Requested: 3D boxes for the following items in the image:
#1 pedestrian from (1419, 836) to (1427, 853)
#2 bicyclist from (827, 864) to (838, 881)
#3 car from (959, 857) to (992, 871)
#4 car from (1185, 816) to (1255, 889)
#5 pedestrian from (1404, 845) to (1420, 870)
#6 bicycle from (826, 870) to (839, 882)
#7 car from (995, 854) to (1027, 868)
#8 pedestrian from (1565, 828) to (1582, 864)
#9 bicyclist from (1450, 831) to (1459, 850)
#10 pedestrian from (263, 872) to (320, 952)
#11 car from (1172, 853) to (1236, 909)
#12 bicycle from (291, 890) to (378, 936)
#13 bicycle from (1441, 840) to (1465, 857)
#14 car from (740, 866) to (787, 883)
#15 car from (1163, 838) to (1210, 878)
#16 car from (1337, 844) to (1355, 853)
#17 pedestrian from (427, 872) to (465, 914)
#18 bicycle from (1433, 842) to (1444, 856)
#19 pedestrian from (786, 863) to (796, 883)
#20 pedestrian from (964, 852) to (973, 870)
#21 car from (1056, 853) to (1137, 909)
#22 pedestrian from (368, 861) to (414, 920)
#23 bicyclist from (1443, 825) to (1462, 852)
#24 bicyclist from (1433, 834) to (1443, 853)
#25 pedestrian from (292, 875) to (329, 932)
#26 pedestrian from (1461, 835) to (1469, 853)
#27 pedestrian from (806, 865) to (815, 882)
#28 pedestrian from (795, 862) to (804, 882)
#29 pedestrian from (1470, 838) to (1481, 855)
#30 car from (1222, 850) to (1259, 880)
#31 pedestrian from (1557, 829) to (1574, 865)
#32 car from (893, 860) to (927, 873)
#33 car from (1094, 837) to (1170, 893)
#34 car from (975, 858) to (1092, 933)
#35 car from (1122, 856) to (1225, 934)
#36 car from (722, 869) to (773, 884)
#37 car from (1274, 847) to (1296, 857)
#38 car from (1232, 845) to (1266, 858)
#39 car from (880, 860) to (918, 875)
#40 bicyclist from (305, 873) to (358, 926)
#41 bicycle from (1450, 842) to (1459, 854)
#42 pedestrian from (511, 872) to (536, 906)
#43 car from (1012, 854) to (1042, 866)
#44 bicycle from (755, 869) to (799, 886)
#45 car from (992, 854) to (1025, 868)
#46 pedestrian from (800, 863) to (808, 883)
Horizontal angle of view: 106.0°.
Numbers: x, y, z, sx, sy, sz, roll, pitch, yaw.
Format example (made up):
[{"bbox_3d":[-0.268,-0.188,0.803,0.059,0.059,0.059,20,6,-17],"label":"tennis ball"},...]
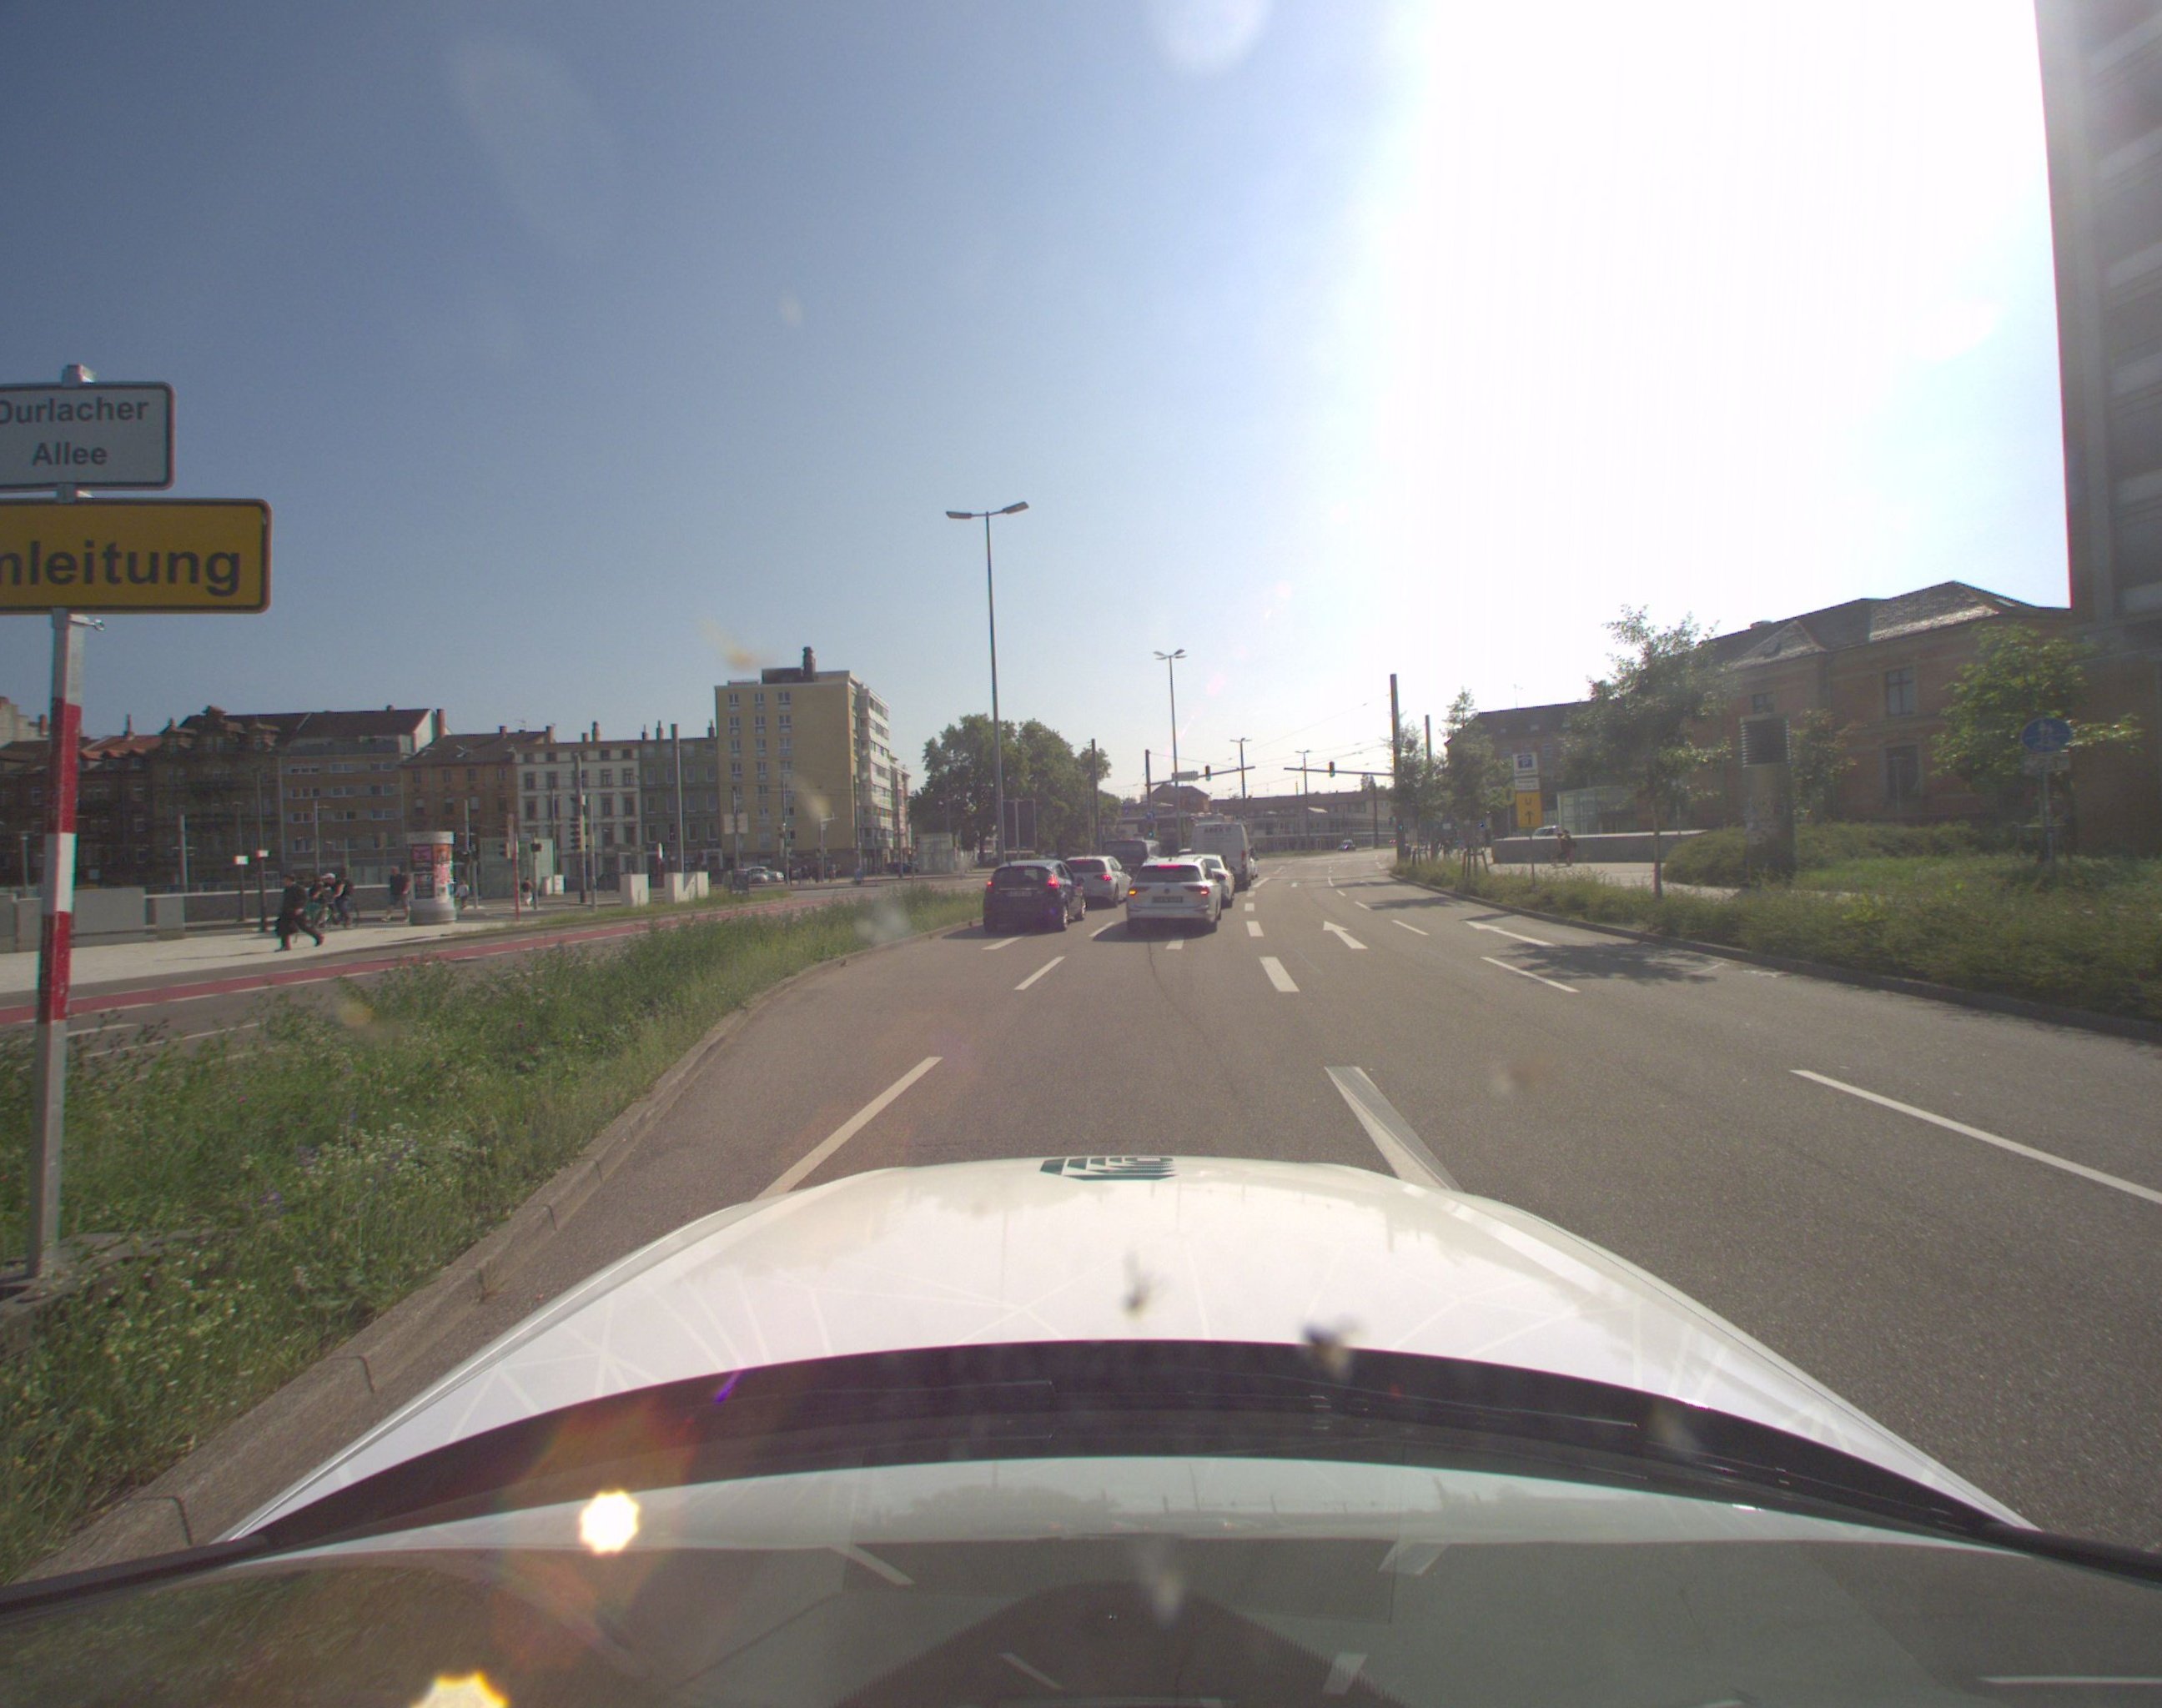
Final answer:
[{"bbox_3d":[41.046,-1.148,97.683,0.739,2.013,0.811,-3,0,25],"label":"pedestrian"},{"bbox_3d":[-21.521,1.620,70.490,0.724,1.434,0.689,-2,0,-5],"label":"bicyclist"},{"bbox_3d":[-13.593,1.291,105.046,3.977,1.558,1.727,-2,0,-2],"label":"car"},{"bbox_3d":[5.428,-0.048,31.304,2.173,2.549,4.702,-2,-1,14],"label":"car"},{"bbox_3d":[18.290,0.196,45.029,0.632,1.362,0.635,-2,0,8],"label":"pedestrian"},{"bbox_3d":[-21.515,1.907,70.475,0.726,0.984,1.729,-2,0,-5],"label":"bicycle"},{"bbox_3d":[-9.386,0.909,108.857,3.971,1.618,1.814,-3,0,2],"label":"car"},{"bbox_3d":[22.710,-0.357,37.569,0.608,1.628,0.537,-2,0,32],"label":"pedestrian"},{"bbox_3d":[36.385,-1.336,79.347,0.739,1.785,1.120,-3,0,25],"label":"bicyclist"},{"bbox_3d":[-18.647,1.342,19.258,0.853,1.778,0.866,-4,3,-43],"label":"pedestrian"},{"bbox_3d":[3.545,0.700,22.962,1.479,1.403,3.955,-2,-1,12],"label":"car"},{"bbox_3d":[-20.703,1.606,22.639,0.559,1.064,1.853,-1,3,3],"label":"bicycle"},{"bbox_3d":[21.795,-0.318,47.734,0.767,0.976,2.157,-2,0,11],"label":"bicycle"},{"bbox_3d":[-29.667,1.936,76.128,3.726,1.393,1.586,-2,0,-1],"label":"car"},{"bbox_3d":[5.829,0.221,44.410,2.009,2.008,4.700,-2,0,13],"label":"car"},{"bbox_3d":[44.389,-0.965,136.446,1.974,1.442,4.026,-3,0,31],"label":"car"},{"bbox_3d":[-31.986,1.951,41.047,0.955,2.013,1.022,-2,2,-1],"label":"pedestrian"},{"bbox_3d":[29.578,-0.417,67.395,0.699,1.061,1.994,-3,0,25],"label":"bicycle"},{"bbox_3d":[-24.628,1.586,69.105,0.450,1.684,0.550,-1,2,23],"label":"pedestrian"},{"bbox_3d":[-12.775,0.826,92.400,0.819,2.013,0.509,-2,0,1],"label":"pedestrian"},{"bbox_3d":[0.529,0.720,23.760,1.478,1.415,3.662,-2,0,14],"label":"car"},{"bbox_3d":[-22.883,1.189,27.022,0.883,1.818,0.888,-3,3,-27],"label":"pedestrian"},{"bbox_3d":[21.774,-0.899,47.751,0.767,1.578,0.993,-2,0,11],"label":"bicyclist"},{"bbox_3d":[29.548,-0.881,67.384,0.706,1.529,0.811,-3,0,25],"label":"bicyclist"},{"bbox_3d":[-22.167,1.416,23.434,0.494,1.579,0.510,-2,2,13],"label":"pedestrian"},{"bbox_3d":[44.672,-1.150,94.719,0.739,2.013,0.811,-3,0,25],"label":"pedestrian"},{"bbox_3d":[-23.620,1.698,71.062,0.501,1.487,0.435,-4,3,-40],"label":"pedestrian"},{"bbox_3d":[-24.030,1.561,69.560,0.451,1.684,0.549,-2,2,11],"label":"pedestrian"},{"bbox_3d":[35.072,-0.681,72.402,0.739,1.529,0.811,-3,0,25],"label":"pedestrian"},{"bbox_3d":[8.182,0.544,41.522,1.625,1.403,3.701,-2,0,14],"label":"car"},{"bbox_3d":[22.120,-0.328,37.196,0.608,1.639,0.537,-3,0,32],"label":"pedestrian"},{"bbox_3d":[-22.127,1.587,105.238,3.977,1.558,1.867,-2,0,-2],"label":"car"},{"bbox_3d":[2.085,0.394,31.902,2.008,2.008,4.703,-2,0,15],"label":"car"},{"bbox_3d":[-0.901,0.823,17.770,1.691,1.368,3.974,-2,0,9],"label":"car"},{"bbox_3d":[1.983,0.759,16.598,1.673,1.387,3.646,-2,-1,12],"label":"car"},{"bbox_3d":[-29.917,1.997,73.091,3.814,1.180,1.576,-2,-2,2],"label":"car"},{"bbox_3d":[32.436,-0.263,129.583,1.974,1.442,4.026,-3,0,35],"label":"car"},{"bbox_3d":[20.396,-0.272,98.936,3.945,1.342,1.934,-3,0,6],"label":"car"},{"bbox_3d":[-21.887,1.650,98.019,3.975,1.557,1.869,-2,2,-1],"label":"car"},{"bbox_3d":[-20.714,1.243,22.529,0.560,1.361,0.884,0,2,3],"label":"bicyclist"},{"bbox_3d":[36.406,-0.603,79.355,0.739,1.148,2.884,-3,0,25],"label":"bicycle"},{"bbox_3d":[-30.590,1.908,44.727,0.830,1.819,0.778,-1,-2,-1],"label":"pedestrian"},{"bbox_3d":[-7.447,0.844,112.189,3.977,1.558,1.727,-2,0,-2],"label":"car"},{"bbox_3d":[-31.420,2.422,84.321,3.978,1.551,1.194,-2,2,-4],"label":"bicycle"},{"bbox_3d":[-9.479,0.949,106.902,3.971,1.618,1.814,-3,0,2],"label":"car"},{"bbox_3d":[-24.080,1.616,70.760,0.458,1.684,0.435,-4,3,-40],"label":"pedestrian"}]
